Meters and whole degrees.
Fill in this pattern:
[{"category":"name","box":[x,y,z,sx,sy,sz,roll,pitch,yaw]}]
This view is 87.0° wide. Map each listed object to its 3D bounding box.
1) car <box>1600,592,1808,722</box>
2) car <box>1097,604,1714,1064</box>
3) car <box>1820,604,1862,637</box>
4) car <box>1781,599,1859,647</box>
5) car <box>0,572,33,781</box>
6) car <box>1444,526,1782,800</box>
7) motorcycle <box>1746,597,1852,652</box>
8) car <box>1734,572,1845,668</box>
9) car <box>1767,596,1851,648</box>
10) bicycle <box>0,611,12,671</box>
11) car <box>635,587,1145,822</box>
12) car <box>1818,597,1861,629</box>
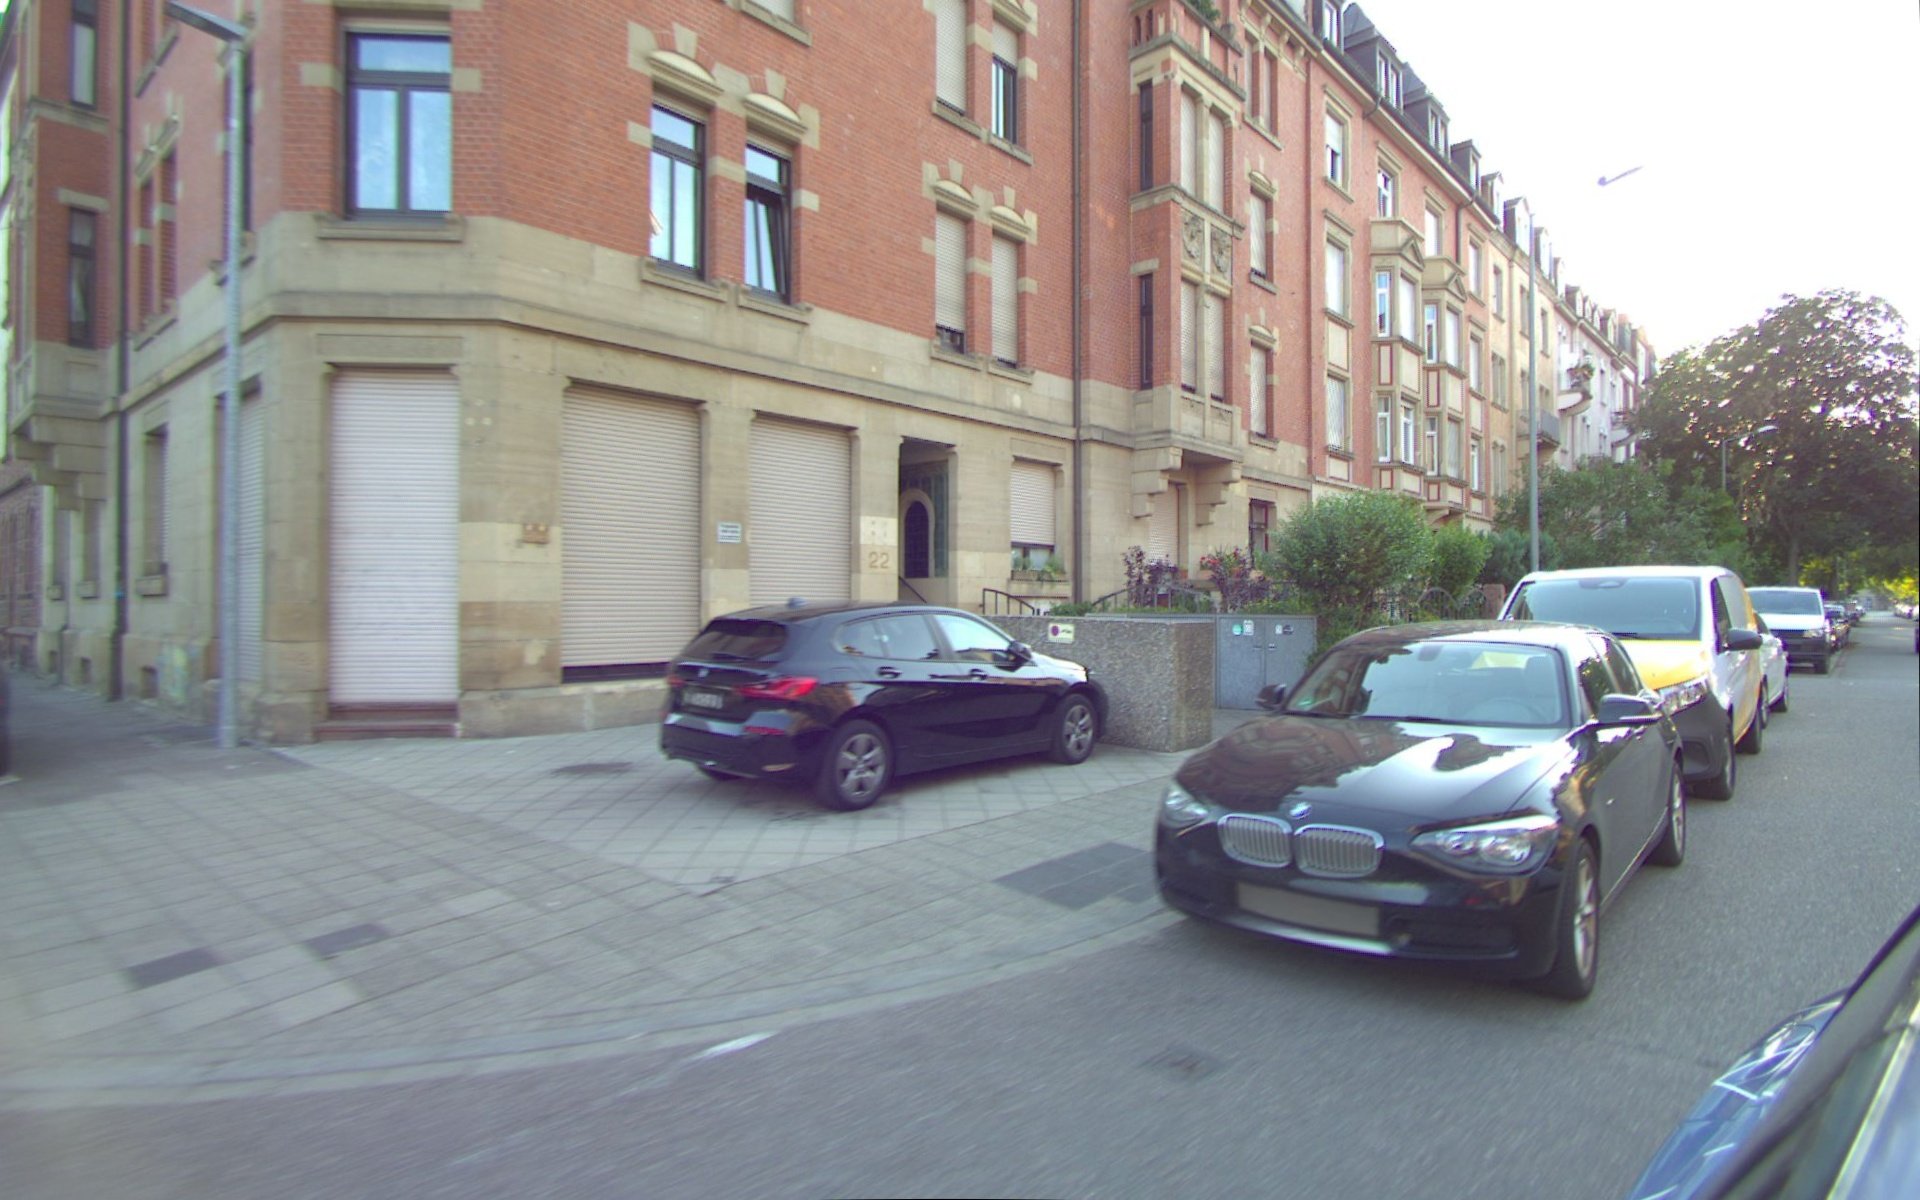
[{"category":"car","box":[10.029,0.662,13.544,3.799,1.496,1.675,0,-1,-45]},{"category":"car","box":[2.640,0.760,5.341,1.720,1.442,4.187,-2,-1,42]},{"category":"car","box":[42.722,0.984,49.124,1.473,1.526,3.871,-1,-1,41]},{"category":"car","box":[30.979,0.806,36.409,1.757,1.602,4.764,-2,-2,45]},{"category":"car","box":[-9.891,0.626,9.112,4.315,1.693,1.851,0,2,42]},{"category":"car","box":[6.372,0.449,9.559,1.892,1.908,5.004,-1,-1,42]},{"category":"motorcycle","box":[24.647,0.704,29.768,2.061,1.501,1.130,2,1,10]},{"category":"car","box":[20.209,0.419,24.558,1.860,2.064,5.461,2,1,41]},{"category":"car","box":[27.427,0.676,32.652,1.720,1.571,4.255,-1,-1,45]},{"category":"bicycle","box":[-21.533,0.924,22.331,1.842,1.281,0.676,-2,3,42]},{"category":"car","box":[-0.326,0.653,8.574,1.725,1.442,4.357,2,1,41]},{"category":"car","box":[49.167,0.689,56.601,1.730,1.723,4.107,-1,-1,41]}]
